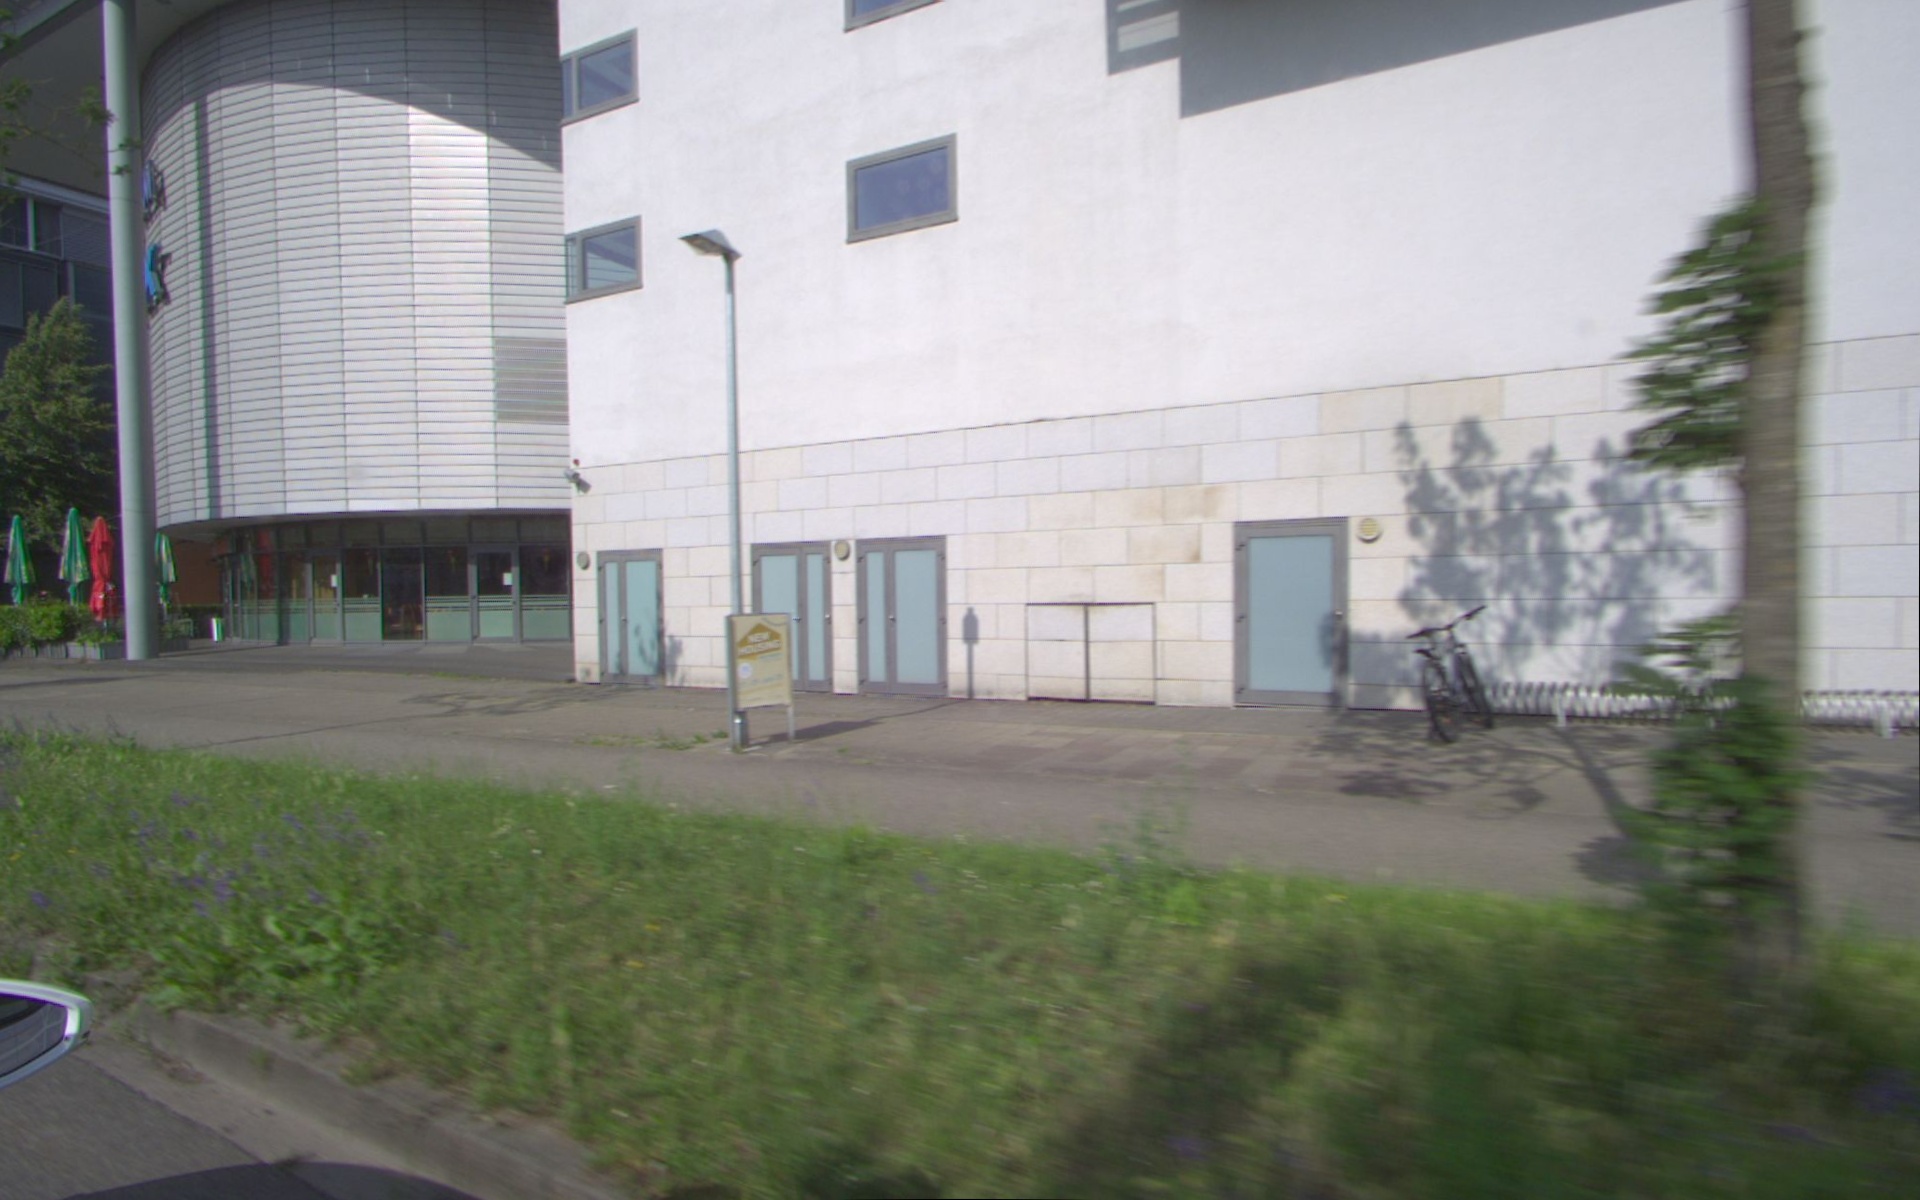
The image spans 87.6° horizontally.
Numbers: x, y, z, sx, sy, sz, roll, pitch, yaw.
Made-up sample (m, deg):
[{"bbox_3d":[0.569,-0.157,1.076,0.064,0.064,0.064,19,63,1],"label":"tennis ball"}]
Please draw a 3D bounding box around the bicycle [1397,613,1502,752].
[{"bbox_3d":[4.580,0.697,9.296,0.666,1.117,2.004,0,0,32],"label":"bicycle"}]
